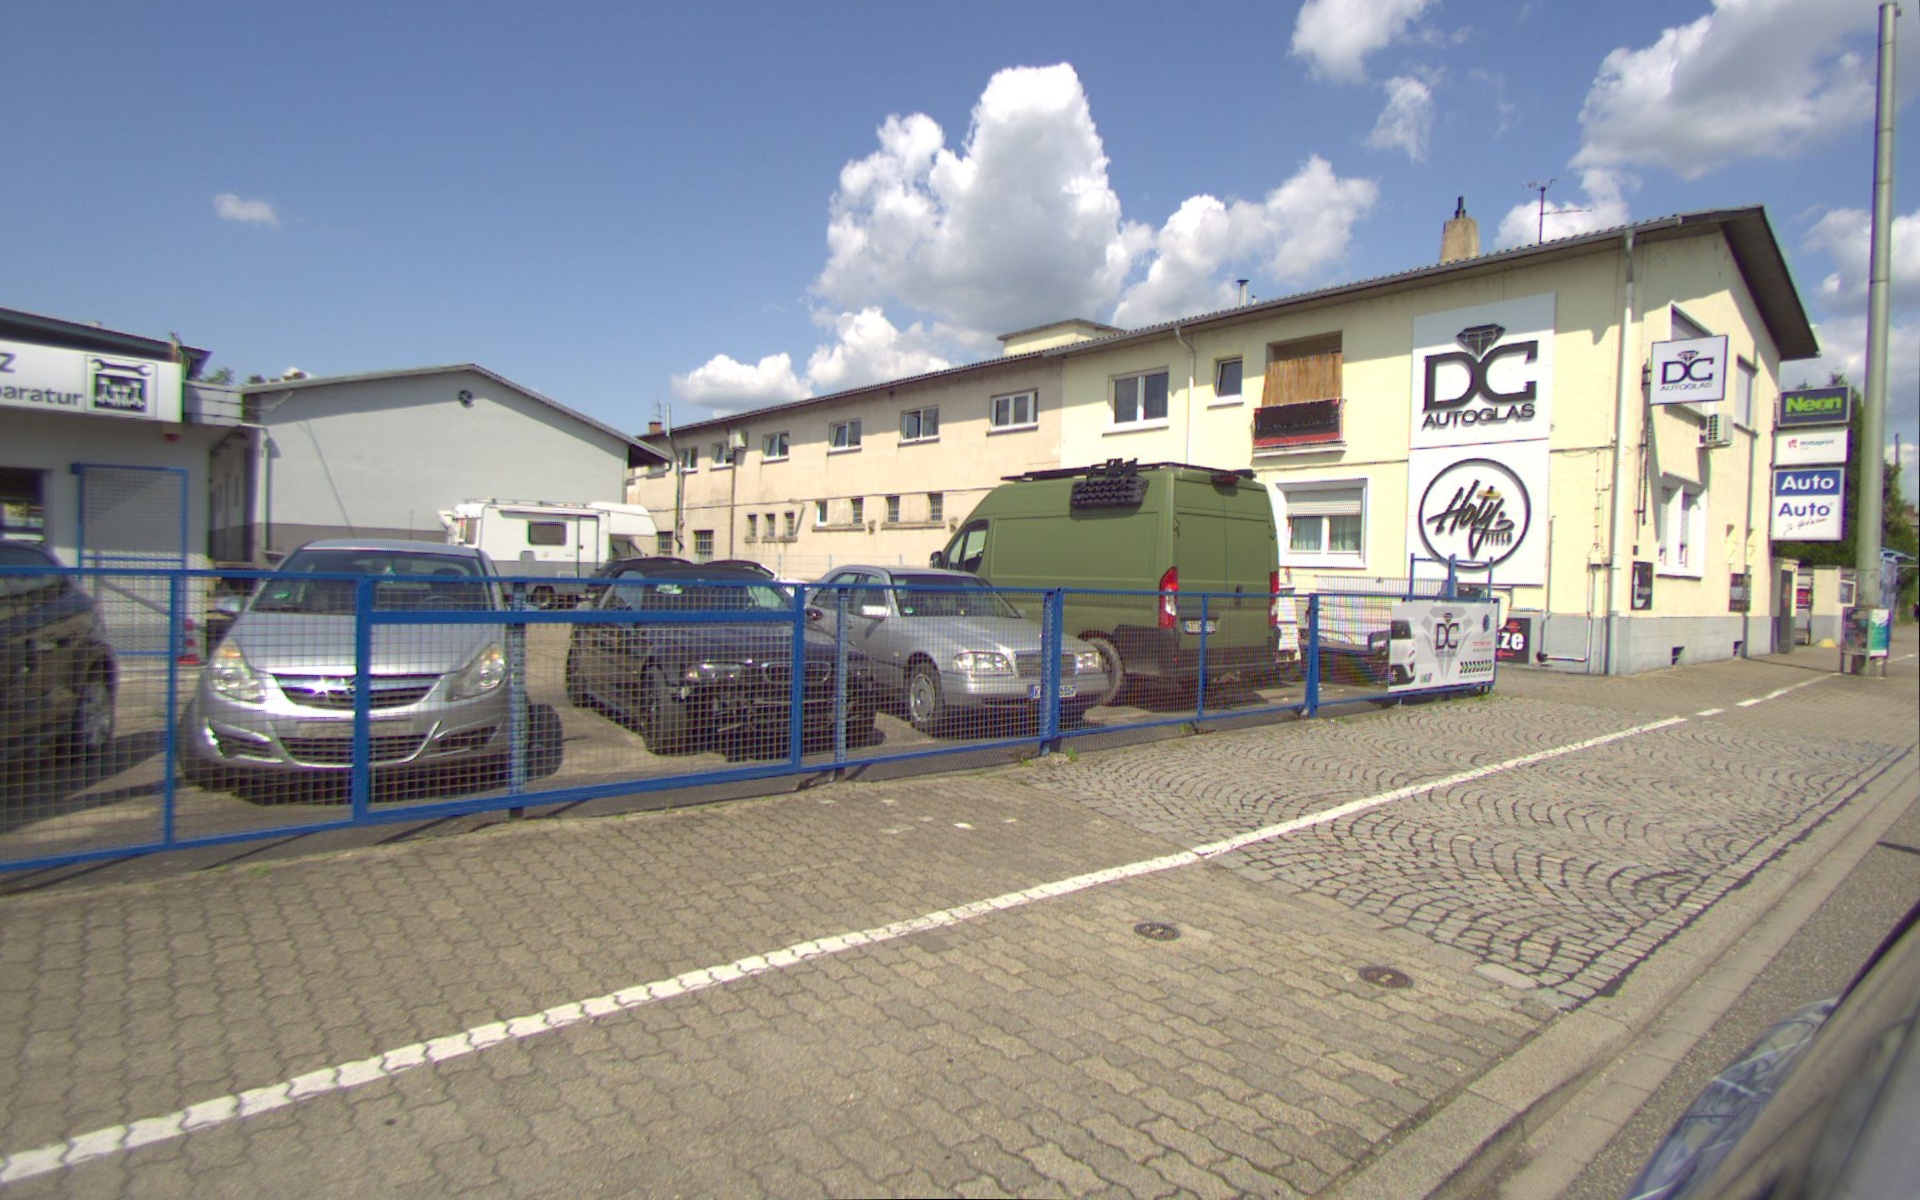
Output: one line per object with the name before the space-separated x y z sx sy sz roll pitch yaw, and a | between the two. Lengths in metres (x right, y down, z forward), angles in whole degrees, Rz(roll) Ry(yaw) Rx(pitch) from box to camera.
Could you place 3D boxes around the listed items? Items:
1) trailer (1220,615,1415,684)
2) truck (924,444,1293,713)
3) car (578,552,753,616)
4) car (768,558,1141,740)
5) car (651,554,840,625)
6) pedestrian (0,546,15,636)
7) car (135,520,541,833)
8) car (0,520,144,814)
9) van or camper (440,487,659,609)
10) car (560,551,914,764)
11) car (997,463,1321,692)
trailer | 5.079 0.670 14.522 1.245 0.776 2.330 0 2 -39
truck | 1.620 -0.285 12.139 2.033 2.639 3.996 1 2 -40
car | -7.481 -0.411 25.883 3.939 1.497 1.719 0 2 -41
car | -0.299 0.320 10.199 1.768 1.413 4.216 1 2 -33
car | -4.928 -0.246 23.513 3.939 1.497 1.719 0 2 -41
pedestrian | -13.262 -0.129 13.835 0.479 1.228 0.501 1 1 -42
car | -3.954 0.302 7.096 1.766 1.497 4.158 1 2 -24
car | -5.751 0.324 5.027 1.685 1.497 4.012 1 2 -25
van or camper | -11.010 -1.324 27.362 4.971 2.999 2.284 0 2 -42
car | -2.128 0.310 8.740 1.768 1.403 3.837 1 2 -32
car | 2.609 -0.345 14.136 1.771 2.702 4.208 1 2 -40
